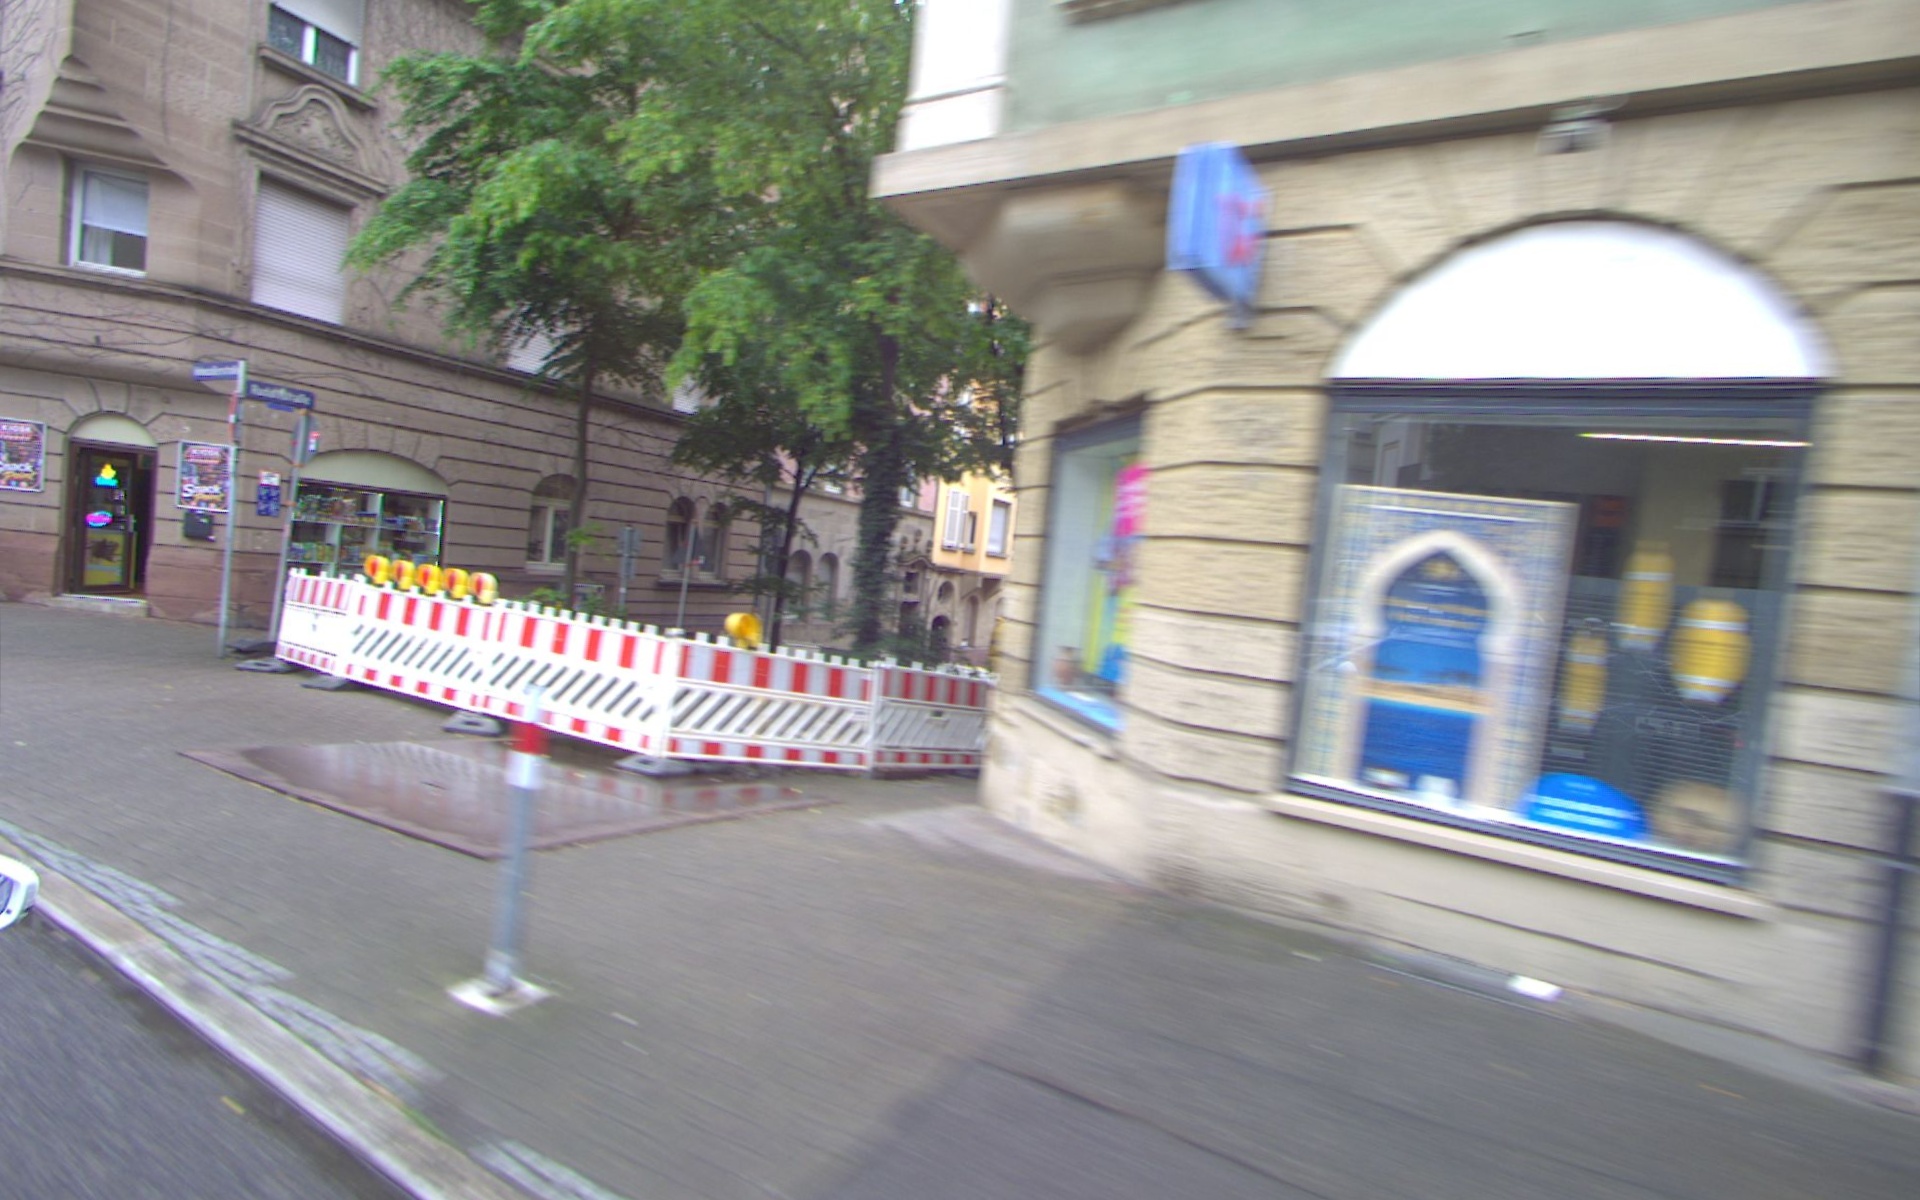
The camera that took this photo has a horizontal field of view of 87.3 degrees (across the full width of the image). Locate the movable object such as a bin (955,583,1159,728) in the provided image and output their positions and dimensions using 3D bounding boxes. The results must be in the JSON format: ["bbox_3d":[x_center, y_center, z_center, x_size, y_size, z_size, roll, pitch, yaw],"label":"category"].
[{"bbox_3d":[2.301,1.318,24.284,3.947,3.001,2.499,5,1,-25],"label":"movable object such as a bin"}]

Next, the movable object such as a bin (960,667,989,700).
[{"bbox_3d":[0.483,2.790,33.791,0.630,1.021,0.673,6,1,36],"label":"movable object such as a bin"}]
